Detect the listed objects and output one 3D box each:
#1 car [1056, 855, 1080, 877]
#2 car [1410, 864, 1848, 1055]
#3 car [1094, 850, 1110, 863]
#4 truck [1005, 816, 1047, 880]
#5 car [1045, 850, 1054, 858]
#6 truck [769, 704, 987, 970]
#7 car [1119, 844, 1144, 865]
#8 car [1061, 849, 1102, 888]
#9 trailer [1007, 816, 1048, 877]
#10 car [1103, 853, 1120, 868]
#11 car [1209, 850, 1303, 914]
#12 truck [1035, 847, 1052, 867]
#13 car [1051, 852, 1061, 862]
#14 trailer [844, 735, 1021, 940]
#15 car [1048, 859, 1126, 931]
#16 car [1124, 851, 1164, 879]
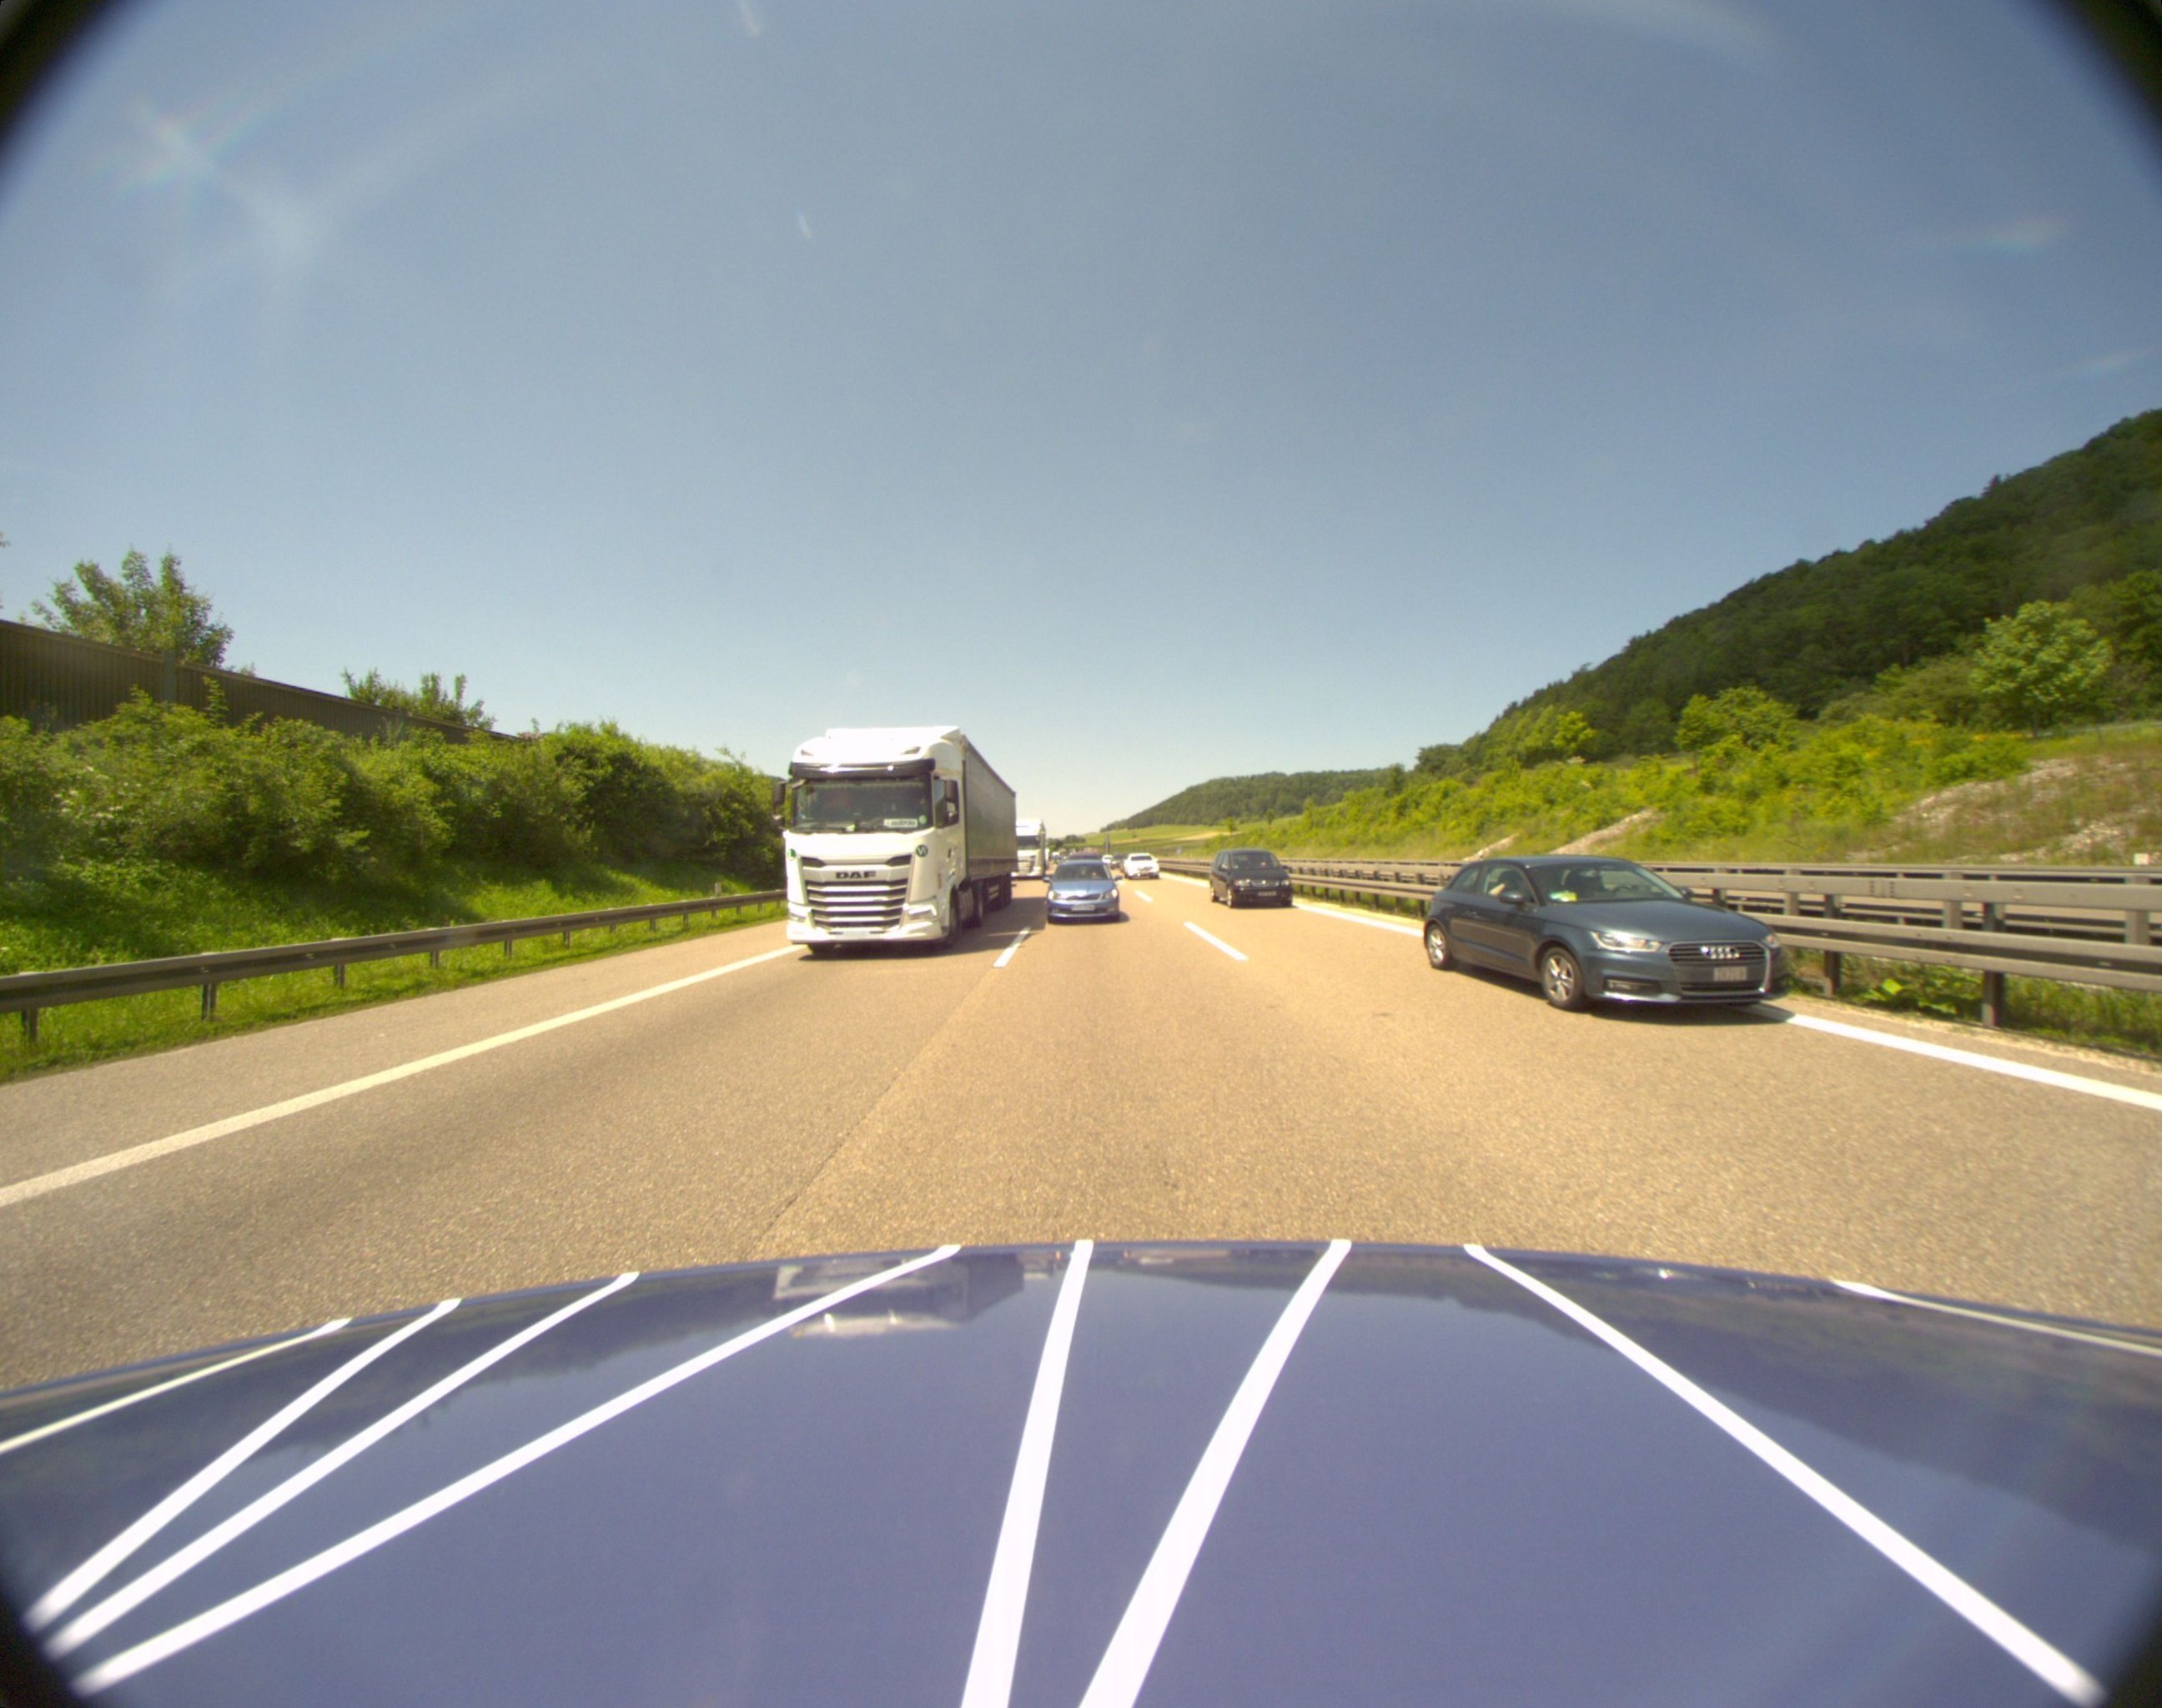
[{"bbox_3d":[-1.180,1.044,67.002,1.999,1.702,3.998,-2,1,-2],"label":"car"},{"bbox_3d":[5.108,0.844,7.880,1.693,1.380,4.000,-1,0,1],"label":"car"},{"bbox_3d":[2.995,0.361,107.791,1.998,1.702,4.000,-2,1,3],"label":"car"},{"bbox_3d":[-3.768,-0.433,52.880,2.531,4.065,6.078,-2,1,-2],"label":"truck"},{"bbox_3d":[-8.344,0.006,202.525,1.999,2.002,3.999,-2,1,0],"label":"car"},{"bbox_3d":[-3.437,-0.269,14.620,2.484,3.954,6.380,-1,0,-1],"label":"truck"},{"bbox_3d":[4.270,0.044,64.679,1.998,1.692,4.000,-2,0,3],"label":"car"},{"bbox_3d":[0.095,0.618,35.316,1.736,1.674,4.198,-1,0,2],"label":"car"},{"bbox_3d":[-3.971,-0.599,59.089,2.544,4.085,13.624,-2,1,-2],"label":"trailer"},{"bbox_3d":[3.879,0.810,96.702,1.998,1.702,4.000,-2,1,3],"label":"car"},{"bbox_3d":[4.922,0.722,21.952,1.805,1.625,4.446,-1,0,2],"label":"car"},{"bbox_3d":[-4.575,0.327,93.731,1.836,2.267,6.593,-2,1,-1],"label":"truck"},{"bbox_3d":[-5.330,0.716,164.748,1.999,2.002,3.999,-2,1,0],"label":"car"},{"bbox_3d":[-3.426,-0.344,21.655,2.484,3.954,13.653,-1,0,-1],"label":"trailer"},{"bbox_3d":[0.123,0.917,18.958,1.660,1.481,4.653,-1,0,0],"label":"car"},{"bbox_3d":[3.858,0.660,46.940,1.999,1.612,3.999,-2,0,-1],"label":"car"}]
